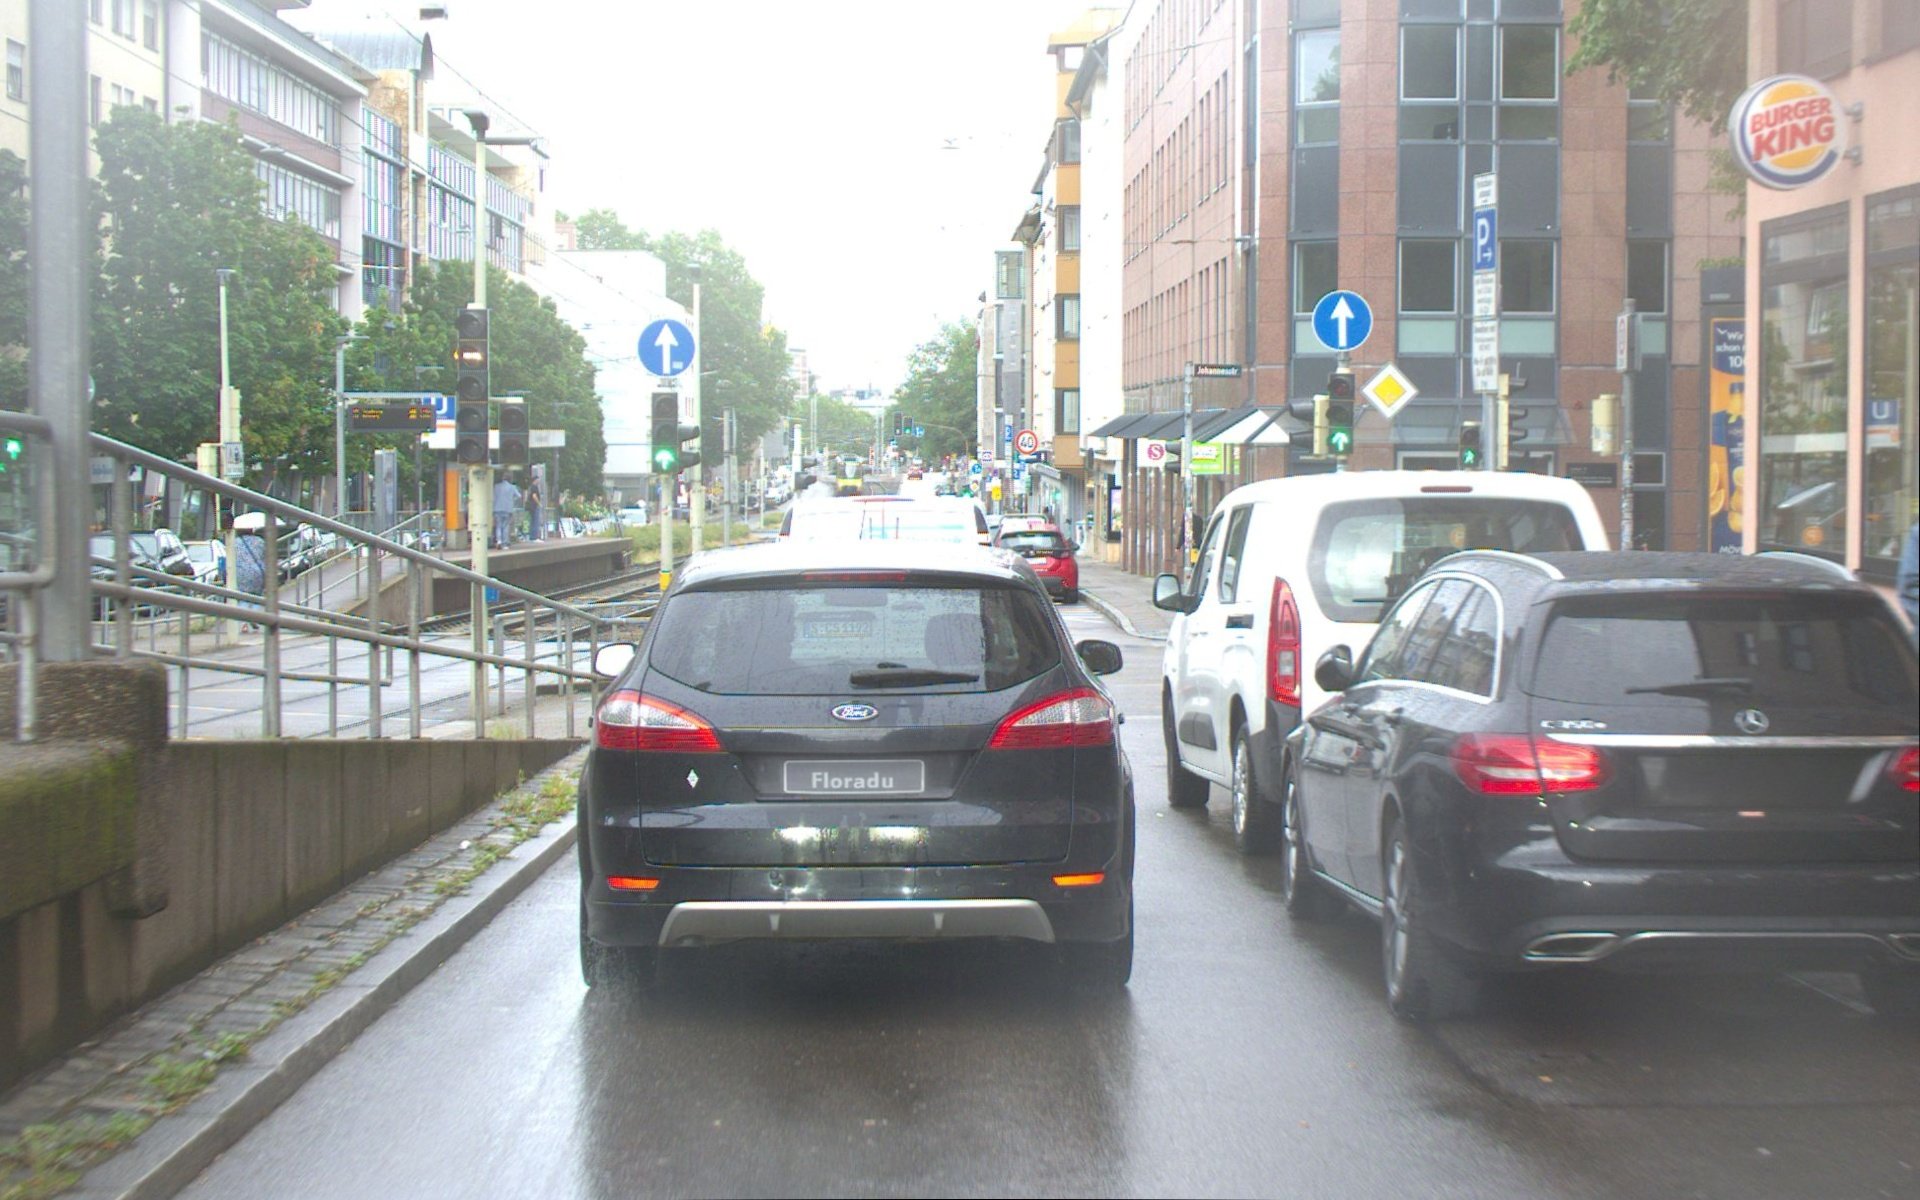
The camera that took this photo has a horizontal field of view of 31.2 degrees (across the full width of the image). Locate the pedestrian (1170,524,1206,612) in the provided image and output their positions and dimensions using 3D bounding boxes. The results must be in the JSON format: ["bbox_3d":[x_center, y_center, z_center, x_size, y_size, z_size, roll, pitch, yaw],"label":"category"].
[{"bbox_3d":[4.310,-0.604,65.032,0.601,1.653,0.625,-1,1,0],"label":"pedestrian"}]

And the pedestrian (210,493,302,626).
[{"bbox_3d":[-10.858,-0.632,53.058,1.116,2.007,1.383,-1,1,-1],"label":"pedestrian"}]

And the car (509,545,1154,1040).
[{"bbox_3d":[-0.385,0.545,11.938,1.906,1.457,3.445,0,1,0],"label":"car"}]

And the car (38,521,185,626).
[{"bbox_3d":[-15.576,-0.522,63.320,1.802,1.852,4.381,-1,1,-3],"label":"car"}]

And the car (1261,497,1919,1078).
[{"bbox_3d":[2.189,0.486,11.775,1.906,1.610,4.414,0,1,0],"label":"car"}]

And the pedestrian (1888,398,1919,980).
[{"bbox_3d":[3.390,0.280,10.917,0.695,1.848,0.652,-1,1,1],"label":"pedestrian"}]

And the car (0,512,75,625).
[{"bbox_3d":[-16.412,-0.567,58.598,1.707,1.852,4.321,-1,1,-3],"label":"car"}]

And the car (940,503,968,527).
[{"bbox_3d":[-0.386,-5.853,237.452,1.906,1.627,4.574,0,1,0],"label":"car"}]

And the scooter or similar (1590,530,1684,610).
[{"bbox_3d":[10.479,-0.465,53.238,1.374,1.223,0.325,-1,1,3],"label":"scooter or similar"}]

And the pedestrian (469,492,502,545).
[{"bbox_3d":[-11.389,-1.958,82.559,0.692,1.245,0.884,-1,1,-3],"label":"pedestrian"}]

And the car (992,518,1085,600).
[{"bbox_3d":[1.511,-0.812,66.710,1.698,1.474,3.867,-2,1,1],"label":"car"}]

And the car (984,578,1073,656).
[{"bbox_3d":[1.390,0.337,70.862,1.698,1.457,3.867,-2,1,0],"label":"car"}]

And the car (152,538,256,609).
[{"bbox_3d":[-16.111,-0.582,73.430,1.568,1.431,3.980,-1,1,-4],"label":"car"}]

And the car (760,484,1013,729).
[{"bbox_3d":[-0.565,0.013,28.418,1.906,1.858,4.574,0,1,0],"label":"car"}]

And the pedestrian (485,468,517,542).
[{"bbox_3d":[-10.685,-2.215,80.021,0.655,1.705,0.850,-1,1,-3],"label":"pedestrian"}]

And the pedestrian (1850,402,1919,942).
[{"bbox_3d":[3.672,0.251,12.622,0.651,1.941,0.533,-1,1,1],"label":"pedestrian"}]

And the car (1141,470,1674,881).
[{"bbox_3d":[2.106,0.293,17.554,1.906,1.800,4.778,0,1,-2],"label":"car"}]

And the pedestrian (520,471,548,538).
[{"bbox_3d":[-11.621,-2.607,93.824,0.655,1.795,0.850,-1,1,-3],"label":"pedestrian"}]

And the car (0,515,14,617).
[{"bbox_3d":[-16.144,-0.480,53.133,1.726,1.606,4.553,-1,2,1],"label":"car"}]

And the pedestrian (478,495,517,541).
[{"bbox_3d":[-11.407,-2.033,84.842,0.892,1.119,0.850,-1,1,-11],"label":"pedestrian"}]
